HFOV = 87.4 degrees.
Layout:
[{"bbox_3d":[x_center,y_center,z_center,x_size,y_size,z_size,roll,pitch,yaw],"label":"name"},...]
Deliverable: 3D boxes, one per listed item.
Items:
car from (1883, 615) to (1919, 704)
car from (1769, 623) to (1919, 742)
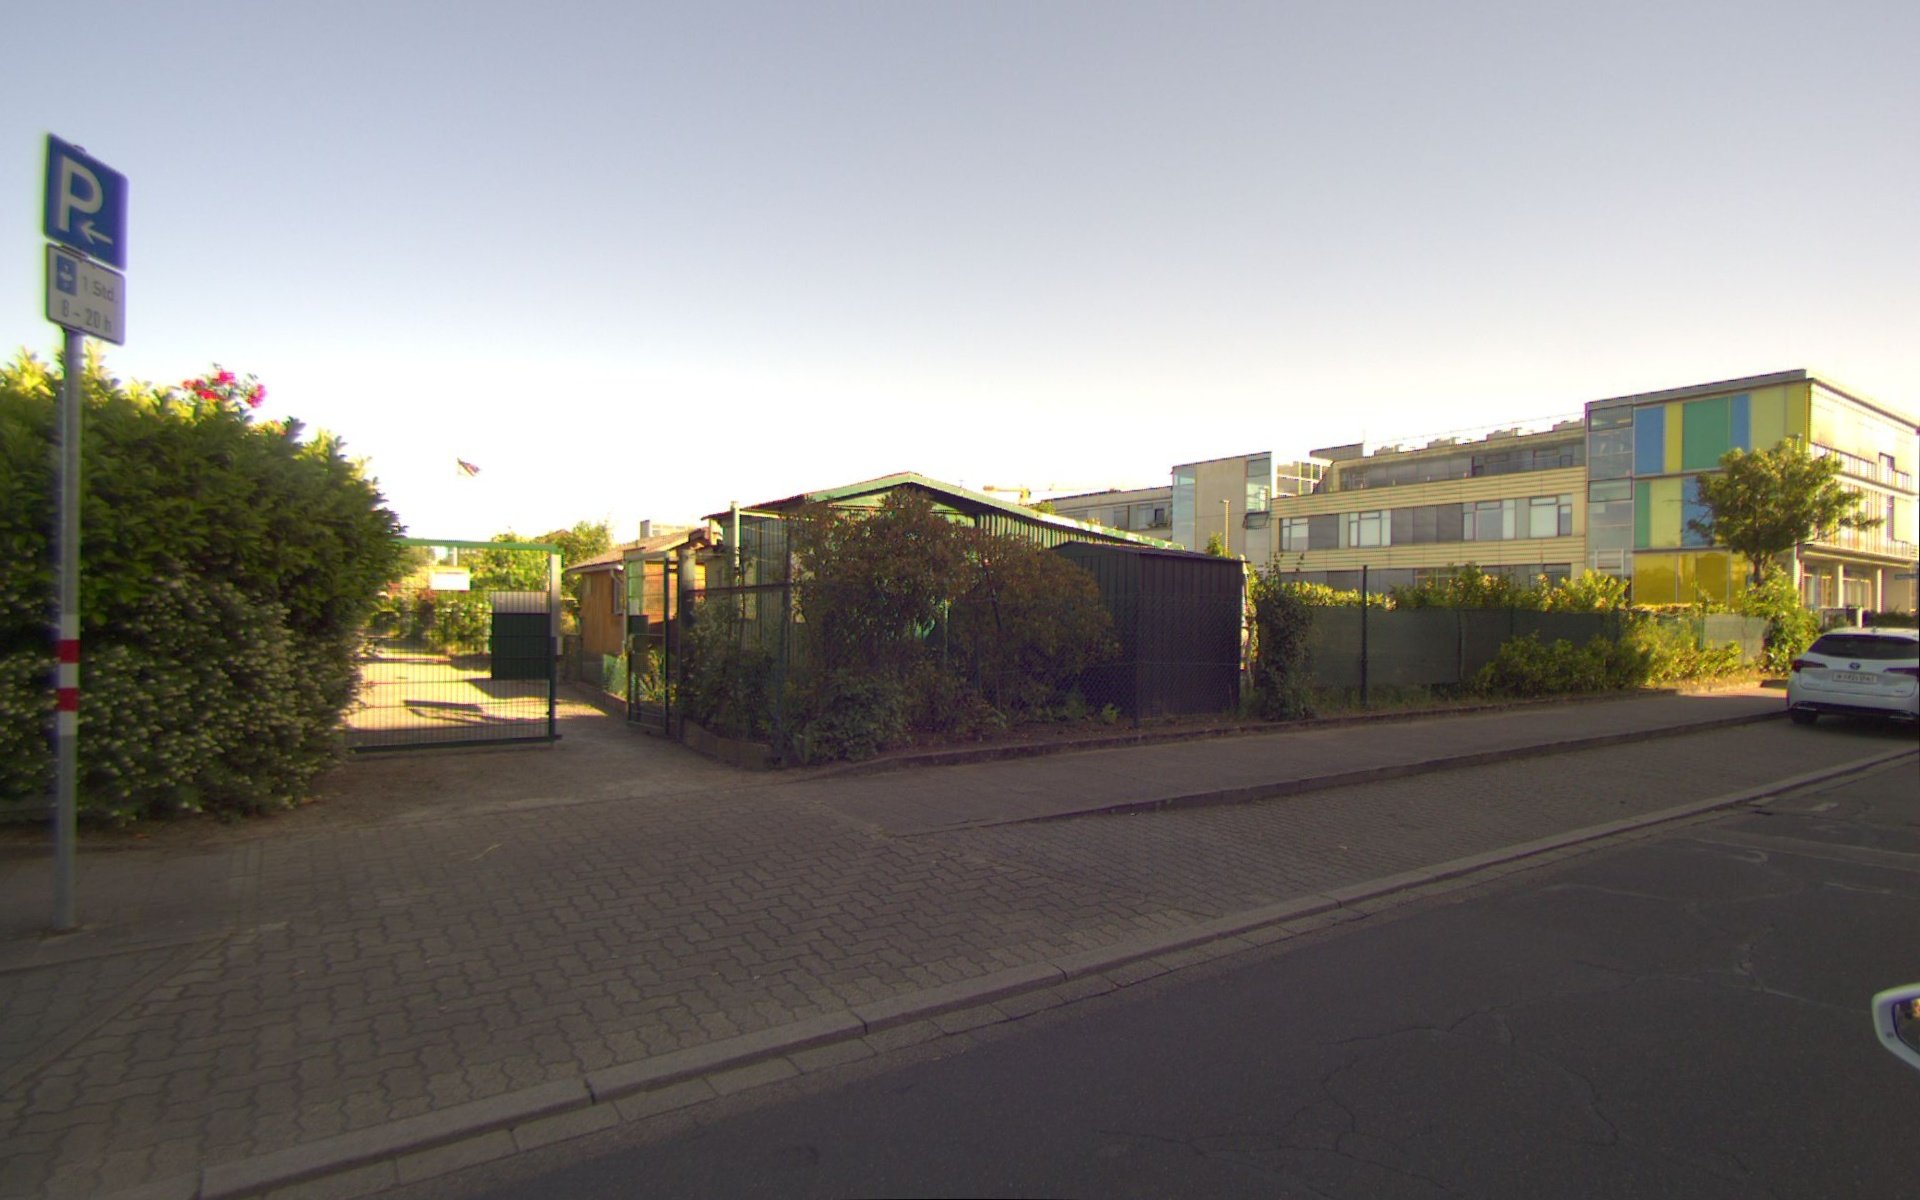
[{"bbox_3d":[18.938,1.101,18.696,4.473,1.534,1.684,1,1,-36],"label":"car"},{"bbox_3d":[13.860,1.114,14.880,4.496,1.465,1.735,1,1,-35],"label":"car"}]
